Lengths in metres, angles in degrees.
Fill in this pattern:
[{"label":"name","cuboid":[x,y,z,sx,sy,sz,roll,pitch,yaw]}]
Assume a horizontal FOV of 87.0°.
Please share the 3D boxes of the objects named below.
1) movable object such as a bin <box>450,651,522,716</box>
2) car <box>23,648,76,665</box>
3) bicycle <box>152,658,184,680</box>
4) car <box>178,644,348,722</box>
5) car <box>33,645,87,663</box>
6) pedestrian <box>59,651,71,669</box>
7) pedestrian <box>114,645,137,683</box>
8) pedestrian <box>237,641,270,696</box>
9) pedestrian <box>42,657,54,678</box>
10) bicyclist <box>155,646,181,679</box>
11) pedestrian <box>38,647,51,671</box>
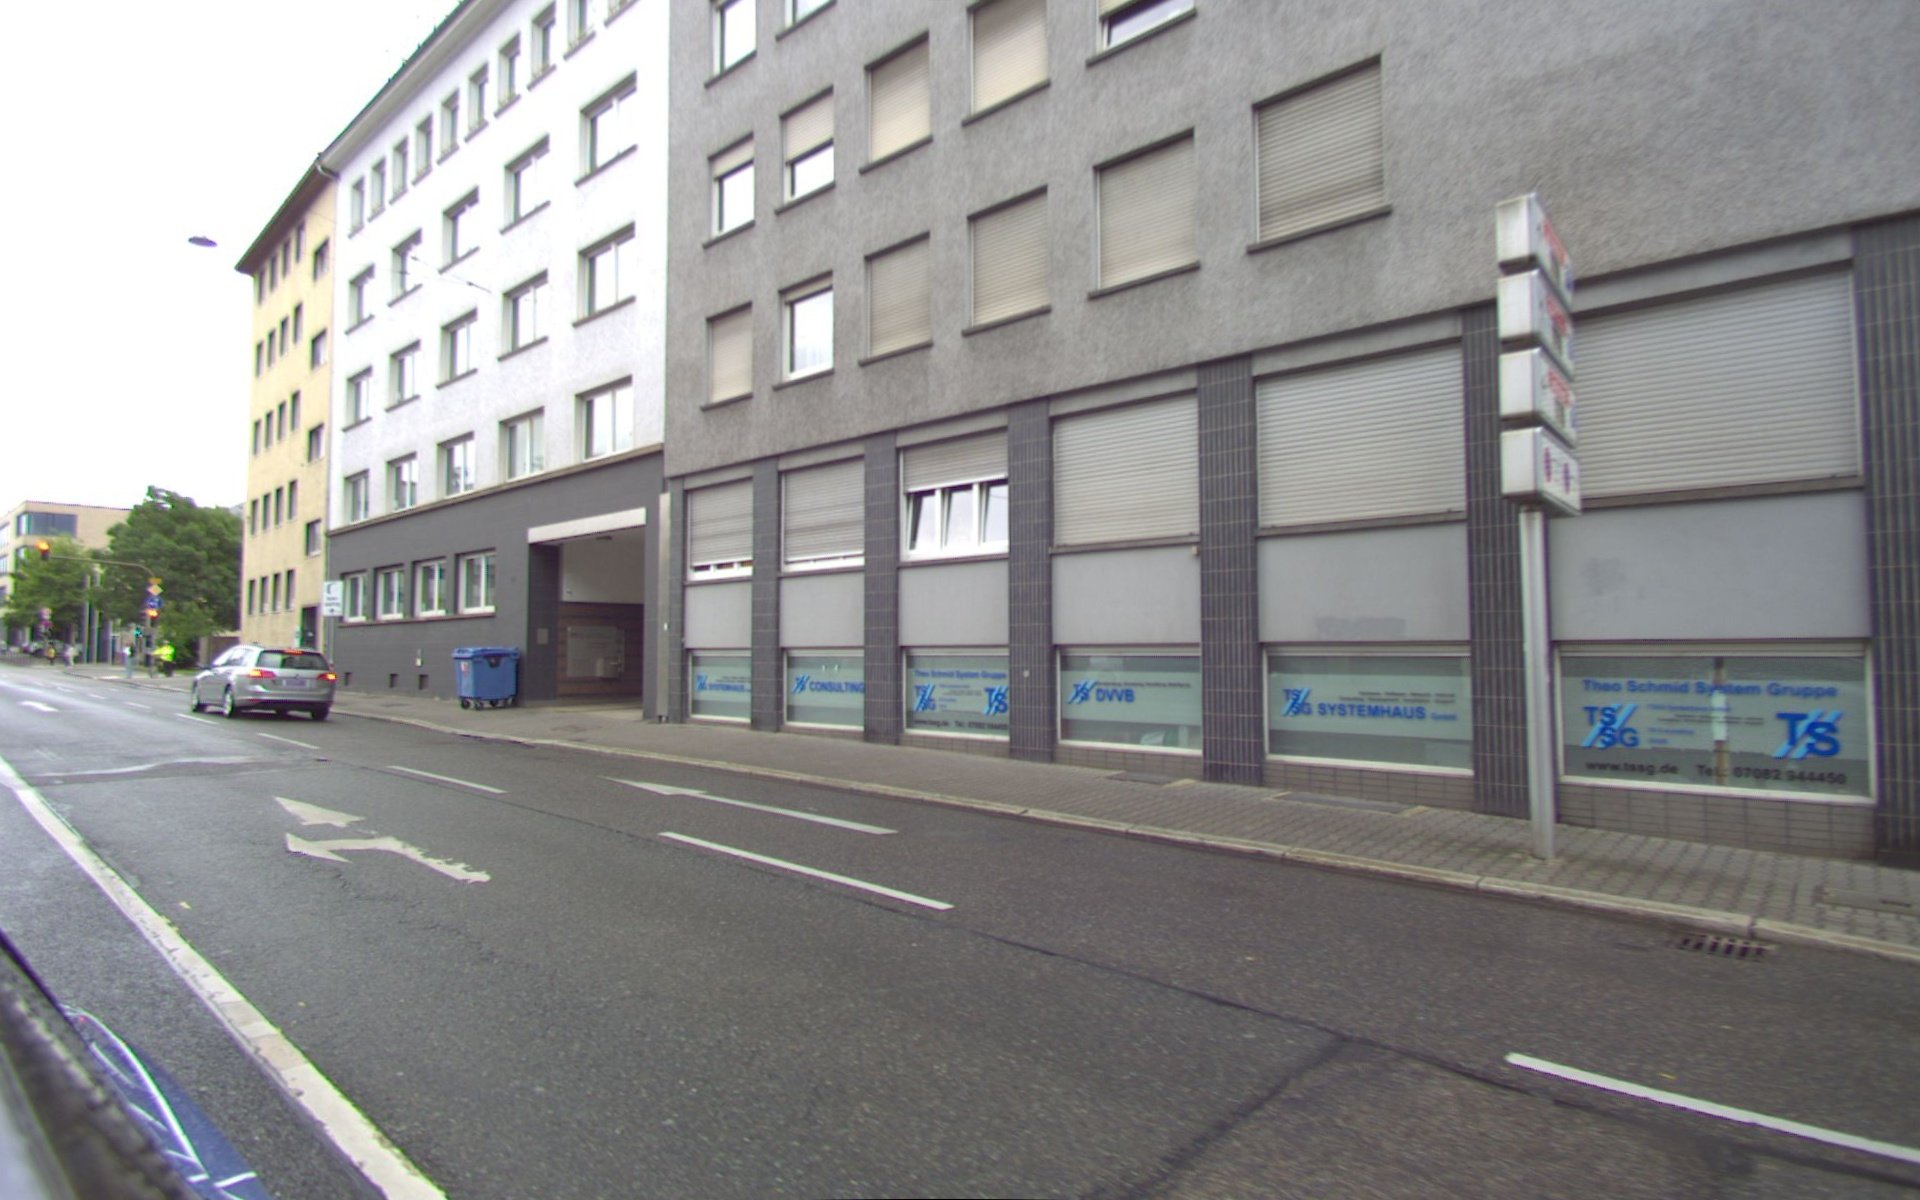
[{"label":"movable object such as a bin","cuboid":[-10.332,1.799,22.052,1.190,1.334,1.064,-2,-2,42]},{"label":"car","cuboid":[-92.628,5.770,102.948,3.940,1.597,2.002,1,-2,-44]},{"label":"bicycle","cuboid":[-35.752,3.100,45.679,1.867,0.914,0.875,-3,-3,44]},{"label":"car","cuboid":[-14.414,1.690,20.856,4.293,1.427,1.807,-3,-7,41]},{"label":"car","cuboid":[-90.303,5.398,101.559,3.940,1.597,2.002,1,-2,-44]},{"label":"pedestrian","cuboid":[-67.837,4.545,76.737,0.475,1.386,0.614,-3,-3,43]},{"label":"pedestrian","cuboid":[-37.684,2.872,45.698,0.811,1.702,0.709,-3,-3,44]},{"label":"pedestrian","cuboid":[-22.282,2.138,31.910,0.811,1.702,0.709,-3,-3,44]},{"label":"pedestrian","cuboid":[-69.685,5.144,77.350,0.692,1.528,0.588,-2,-3,41]},{"label":"bicyclist","cuboid":[-35.704,2.821,45.622,0.813,1.453,0.833,-3,-3,44]},{"label":"pedestrian","cuboid":[-68.607,4.425,75.830,0.692,1.785,0.588,-2,-3,41]}]
